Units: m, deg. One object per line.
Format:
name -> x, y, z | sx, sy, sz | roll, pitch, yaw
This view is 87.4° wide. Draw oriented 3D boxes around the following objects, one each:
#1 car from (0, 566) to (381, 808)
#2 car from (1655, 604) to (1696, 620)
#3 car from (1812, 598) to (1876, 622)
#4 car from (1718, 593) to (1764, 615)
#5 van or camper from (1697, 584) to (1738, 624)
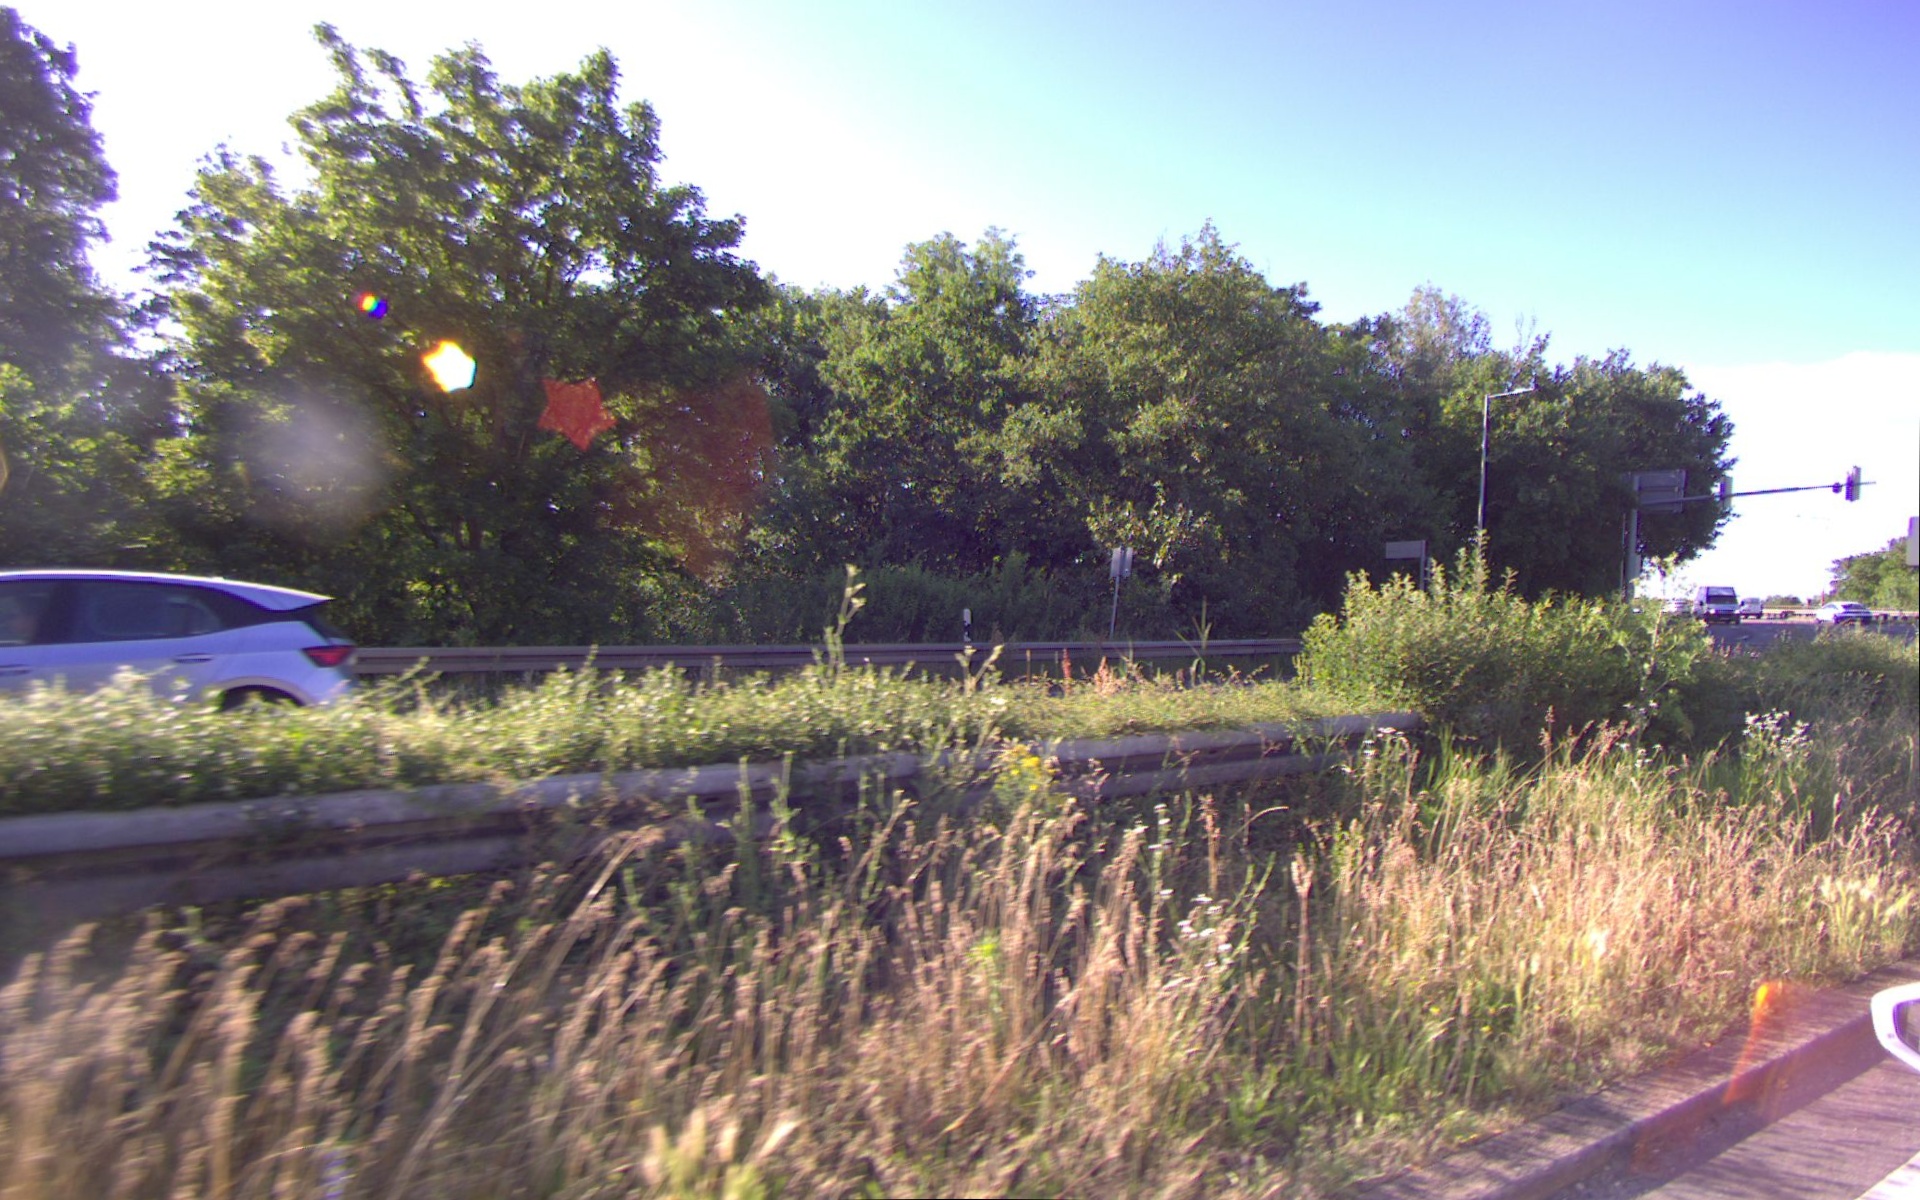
car -> -6.619, 0.534, 7.164 | 4.175, 1.541, 1.873 | 1, 1, -35
car -> 72.738, 1.205, 102.177 | 2.228, 1.528, 4.001 | 3, 1, 17
car -> 60.030, 0.667, 68.289 | 1.937, 1.494, 4.152 | 2, 1, 23
car -> 66.547, 0.304, 85.642 | 1.936, 1.721, 3.999 | 2, 1, 20
van or camper -> 53.130, 0.243, 70.560 | 2.022, 2.709, 6.910 | 1, 1, 35
